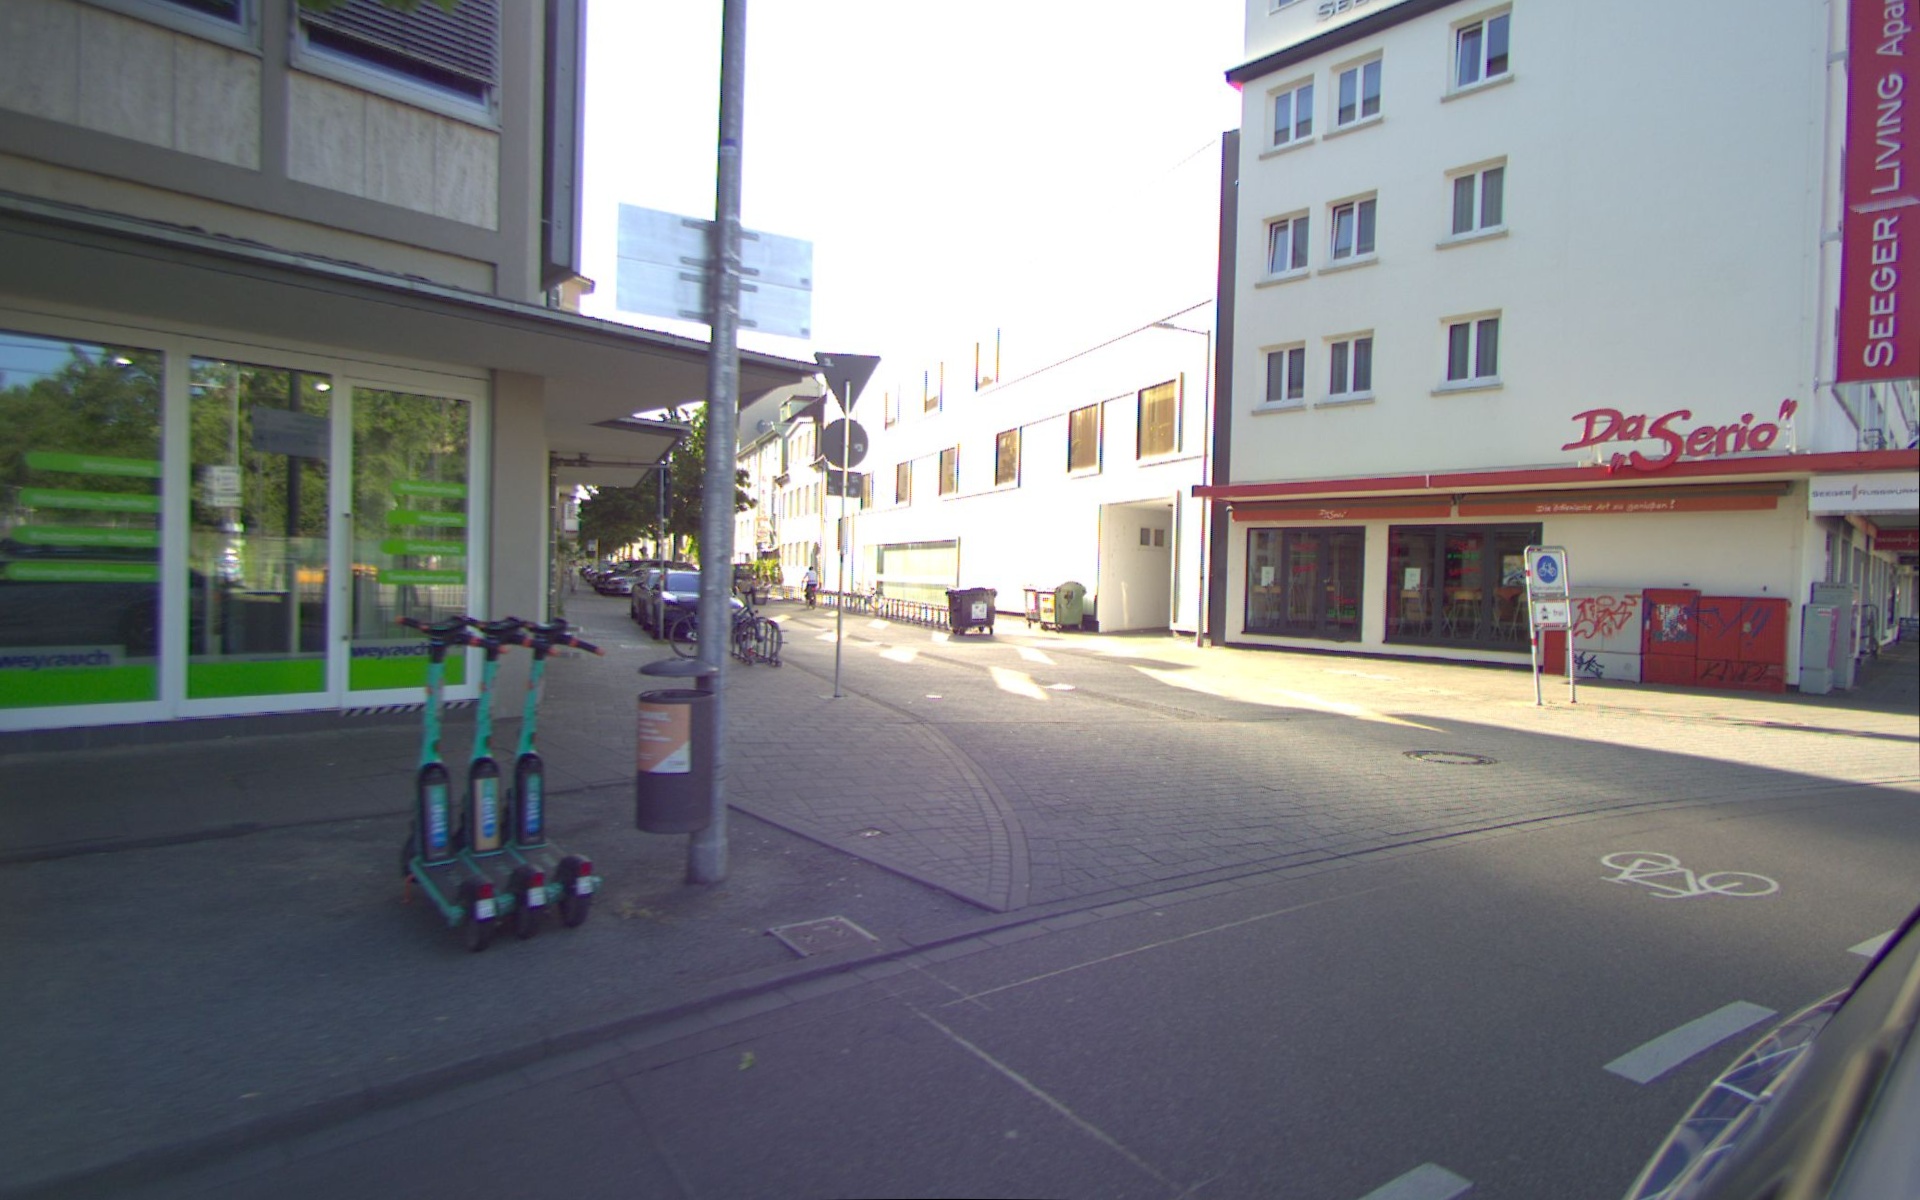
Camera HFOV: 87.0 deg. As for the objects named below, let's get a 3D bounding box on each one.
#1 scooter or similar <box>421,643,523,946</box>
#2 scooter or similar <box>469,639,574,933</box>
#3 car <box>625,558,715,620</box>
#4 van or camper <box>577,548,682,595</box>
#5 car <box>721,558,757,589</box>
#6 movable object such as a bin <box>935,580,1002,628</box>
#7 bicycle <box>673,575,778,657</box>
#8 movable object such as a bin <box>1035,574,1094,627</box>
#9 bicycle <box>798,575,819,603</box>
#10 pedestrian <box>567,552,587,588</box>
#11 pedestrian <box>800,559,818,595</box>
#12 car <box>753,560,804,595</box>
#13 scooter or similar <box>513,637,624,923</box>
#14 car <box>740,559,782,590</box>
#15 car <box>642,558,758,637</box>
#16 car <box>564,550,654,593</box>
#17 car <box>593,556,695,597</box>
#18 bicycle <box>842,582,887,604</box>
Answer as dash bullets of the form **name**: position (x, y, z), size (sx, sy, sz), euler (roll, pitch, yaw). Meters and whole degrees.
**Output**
- **scooter or similar**: position (-2.018, 0.735, 4.150), size (0.157, 1.039, 0.966), euler (0, 2, -39)
- **scooter or similar**: position (-1.874, 0.728, 4.285), size (0.157, 1.052, 0.959), euler (0, 2, -39)
- **car**: position (-8.037, -0.356, 27.745), size (1.842, 1.450, 4.839), euler (4, 1, -21)
- **van or camper**: position (-16.122, -1.374, 49.592), size (1.870, 1.973, 4.705), euler (4, 0, 34)
- **car**: position (-15.479, -1.869, 70.782), size (1.842, 1.921, 4.322), euler (4, 1, -19)
- **movable object such as a bin**: position (0.229, 0.092, 28.666), size (1.388, 1.305, 1.654), euler (0, 2, -21)
- **bicycle**: position (-3.657, 0.248, 15.797), size (1.470, 1.175, 0.443), euler (4, 0, -21)
- **movable object such as a bin**: position (2.974, -0.013, 28.933), size (1.255, 1.458, 1.223), euler (0, 2, -21)
- **bicycle**: position (-6.326, -0.481, 42.254), size (0.547, 1.100, 1.549), euler (4, 0, -19)
- **pedestrian**: position (-17.462, -1.361, 46.106), size (0.739, 1.635, 0.803), euler (0, 2, -29)
- **pedestrian**: position (-6.341, -0.960, 42.406), size (0.553, 1.438, 0.675), euler (4, 0, -19)
- **car**: position (-9.940, -1.261, 55.192), size (1.842, 1.746, 4.118), euler (4, 1, -22)
- **scooter or similar**: position (-1.724, 0.724, 4.409), size (0.157, 1.056, 0.966), euler (0, 2, -39)
- **car**: position (-12.204, -1.572, 61.815), size (1.842, 1.746, 4.322), euler (4, 1, -19)
- **car**: position (-5.836, -0.125, 22.269), size (1.842, 1.450, 4.839), euler (4, 1, -21)
- **car**: position (-18.059, -1.456, 52.023), size (4.091, 1.825, 1.886), euler (4, 0, -25)
- **car**: position (-14.632, -1.067, 47.060), size (1.870, 1.568, 4.258), euler (4, 0, 34)
- **bicycle**: position (-3.894, -0.296, 41.482), size (1.769, 0.842, 0.441), euler (-2, 2, -20)
